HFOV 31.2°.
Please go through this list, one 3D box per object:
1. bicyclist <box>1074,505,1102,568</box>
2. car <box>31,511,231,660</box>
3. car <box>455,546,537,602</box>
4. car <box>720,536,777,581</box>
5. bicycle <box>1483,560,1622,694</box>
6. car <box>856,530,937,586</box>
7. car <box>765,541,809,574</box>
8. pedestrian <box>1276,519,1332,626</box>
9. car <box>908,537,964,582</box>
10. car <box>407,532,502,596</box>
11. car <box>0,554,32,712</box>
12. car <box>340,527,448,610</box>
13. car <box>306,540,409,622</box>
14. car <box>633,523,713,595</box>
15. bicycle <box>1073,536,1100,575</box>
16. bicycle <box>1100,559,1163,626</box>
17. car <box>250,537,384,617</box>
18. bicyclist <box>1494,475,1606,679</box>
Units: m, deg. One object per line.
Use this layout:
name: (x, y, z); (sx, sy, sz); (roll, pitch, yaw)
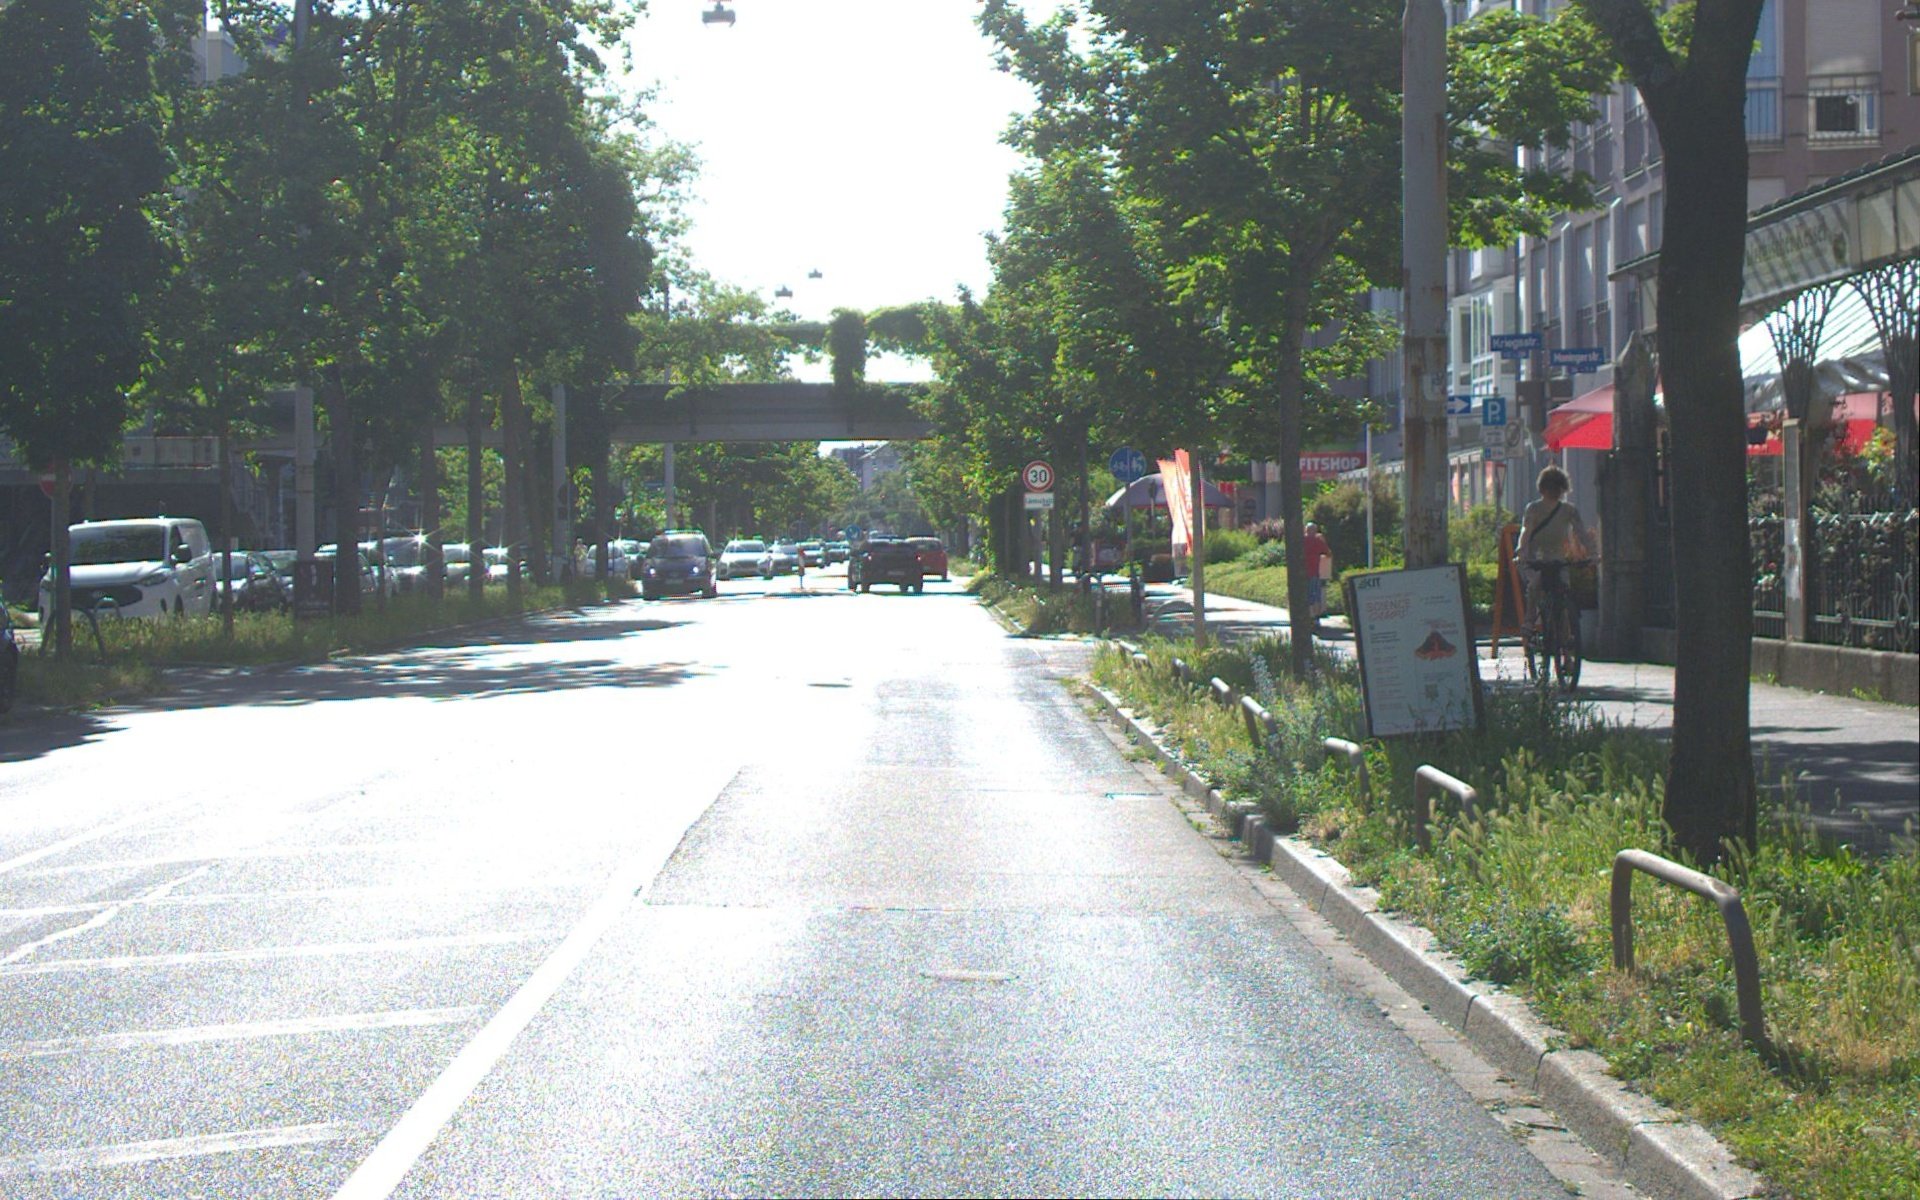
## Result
bicyclist: (3.416, -1.693, 92.057); (0.667, 1.689, 0.889); (0, 0, -2)
car: (-12.537, -0.257, 52.305); (1.981, 2.069, 5.197); (-2, 1, -3)
car: (-13.046, -0.751, 96.911); (1.855, 1.518, 4.319); (0, 1, -2)
car: (-7.791, -1.555, 126.930); (1.855, 1.563, 4.716); (-2, 1, -2)
bicycle: (4.704, 0.202, 27.425); (0.685, 1.024, 2.096); (0, 0, -2)
car: (-1.872, -1.255, 100.345); (1.984, 1.595, 4.141); (0, 1, -6)
car: (-7.912, -1.968, 157.524); (1.855, 1.435, 4.319); (-2, 1, -2)
pedestrian: (5.279, -0.417, 52.802); (0.653, 1.598, 0.603); (-4, 0, -6)
car: (-0.832, -1.414, 119.772); (1.856, 1.518, 4.319); (1, 1, 1)
car: (-12.790, -0.932, 87.189); (1.855, 1.563, 3.872); (0, 1, 0)
car: (-9.764, 0.320, 30.890); (1.712, 1.453, 4.072); (1, 1, 1)
car: (-13.034, -0.742, 79.400); (1.855, 1.843, 4.562); (0, 1, -2)
car: (-12.813, -0.440, 73.363); (1.855, 1.678, 4.666); (0, 1, -6)
car: (-7.713, -1.116, 92.631); (1.855, 1.819, 4.610); (-2, 1, -2)
bicycle: (3.379, -1.189, 92.056); (0.589, 1.024, 1.860); (0, 0, -2)
bicycle: (2.812, -0.134, 56.190); (0.591, 1.062, 2.021); (0, 1, 16)
car: (-12.696, -0.472, 68.086); (1.856, 1.518, 4.063); (1, 1, 1)
bicyclist: (4.705, -0.184, 27.452); (0.700, 1.594, 0.955); (0, 0, -2)
